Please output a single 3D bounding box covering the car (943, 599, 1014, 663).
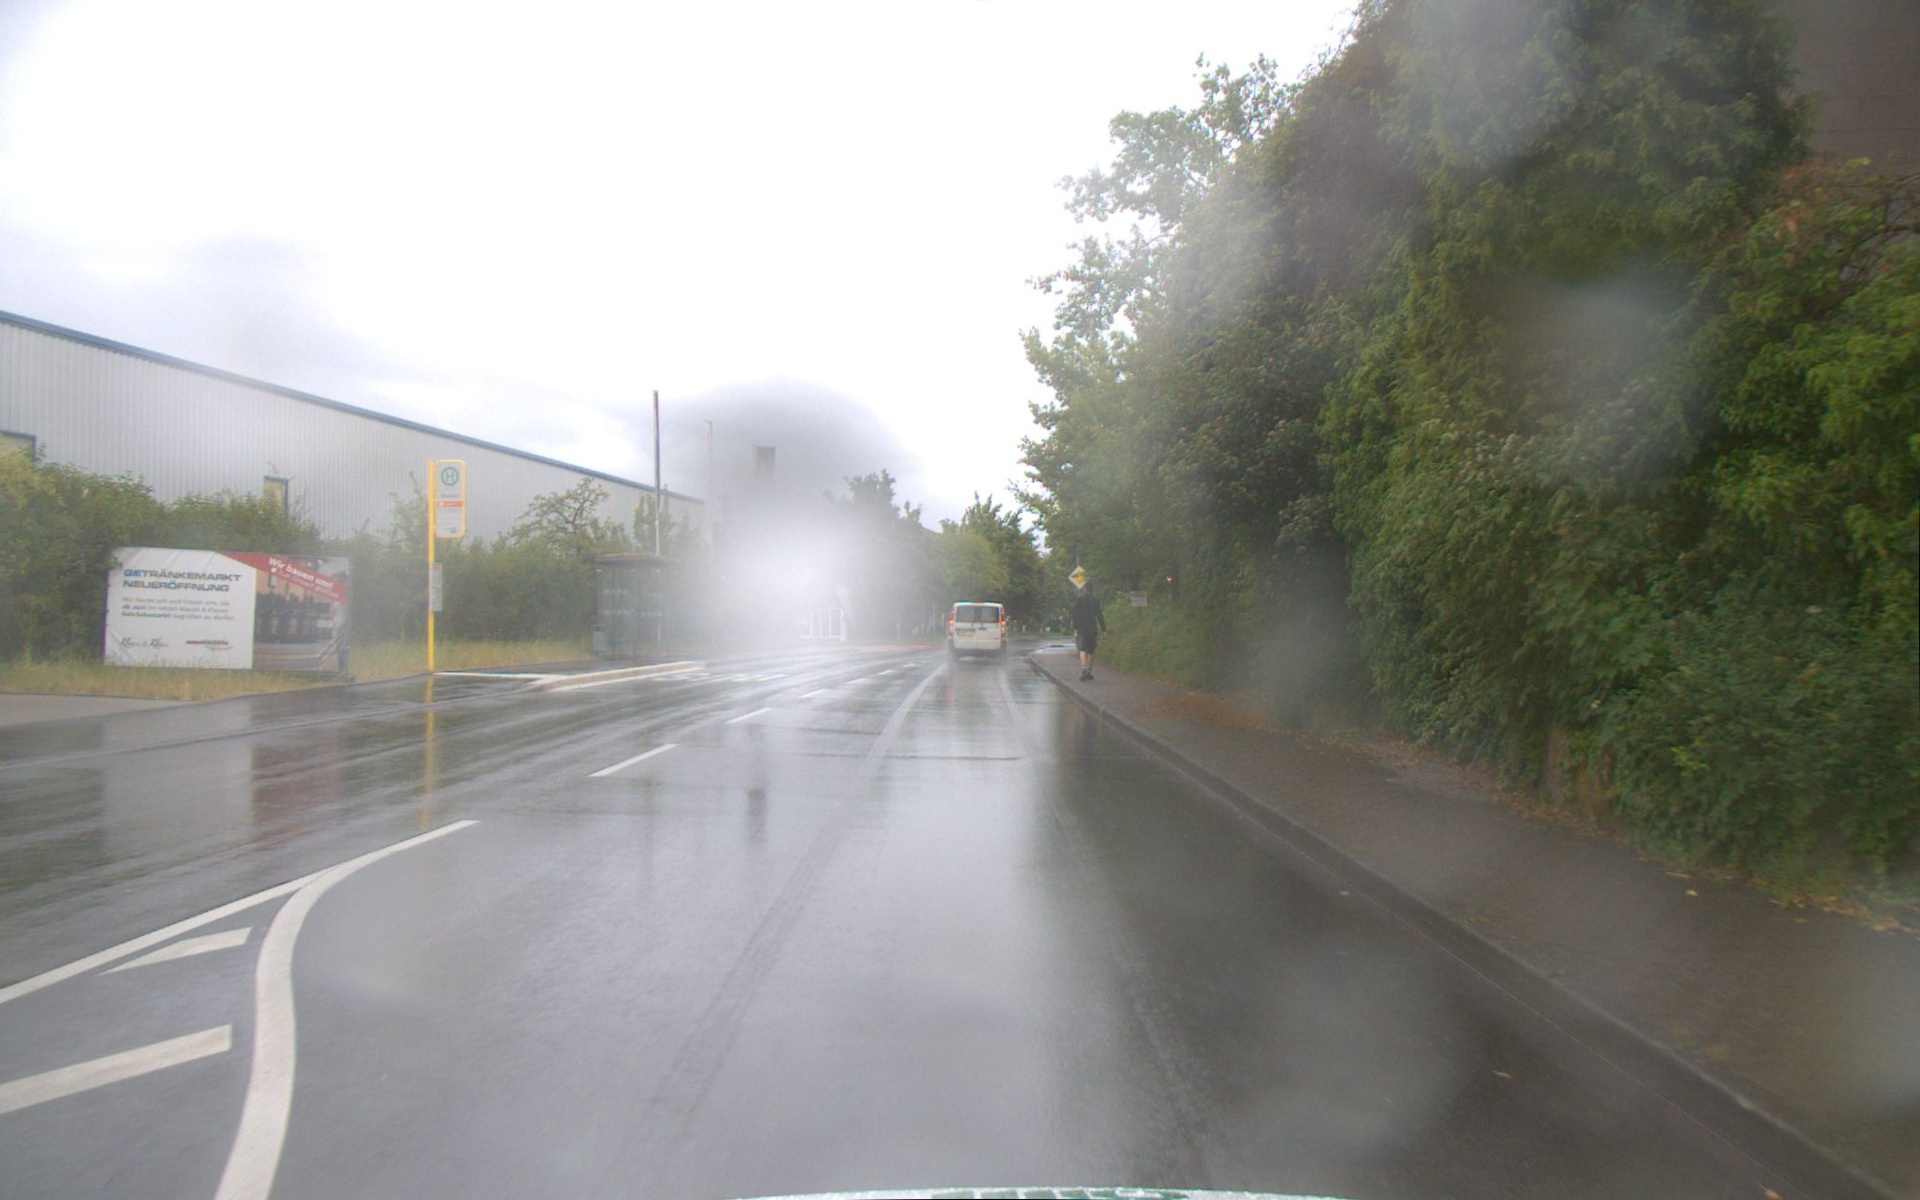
[{"bbox_3d":[0.636,0.944,52.485,2.073,1.921,4.503,1,0,2],"label":"car"}]

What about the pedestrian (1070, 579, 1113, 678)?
[{"bbox_3d":[2.527,0.539,31.956,0.730,1.870,0.890,-1,0,0],"label":"pedestrian"}]
